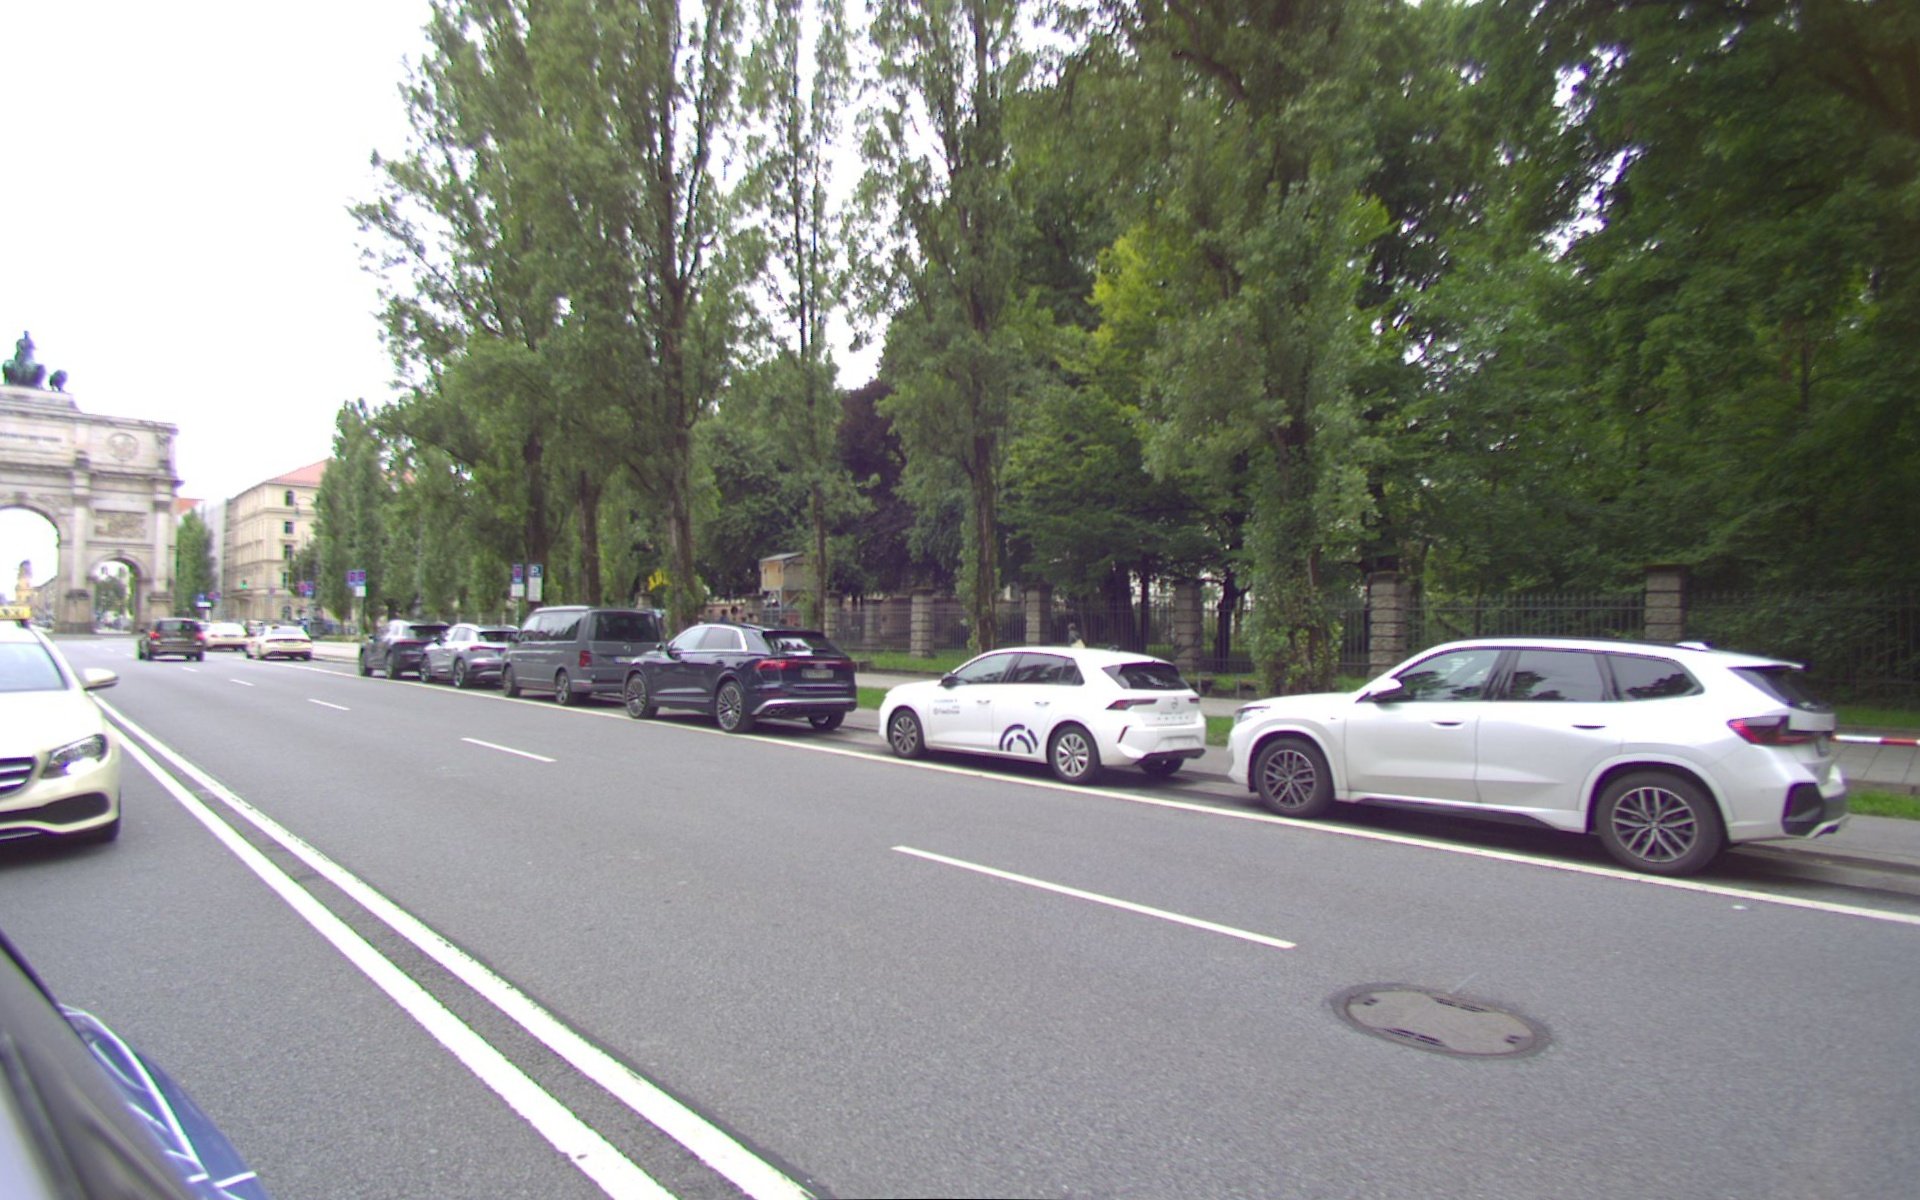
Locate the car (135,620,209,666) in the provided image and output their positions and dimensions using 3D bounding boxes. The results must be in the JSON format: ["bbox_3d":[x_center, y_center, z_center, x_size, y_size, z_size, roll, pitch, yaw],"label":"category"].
[{"bbox_3d":[-30.683,1.667,39.362,1.764,1.669,4.116,4,-4,-44],"label":"car"}]

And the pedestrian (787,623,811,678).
[{"bbox_3d":[-4.954,1.551,31.177,0.543,1.682,0.532,1,-2,-45],"label":"pedestrian"}]

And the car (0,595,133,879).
[{"bbox_3d":[-7.248,0.805,7.154,1.892,1.587,4.694,-1,0,-43],"label":"car"}]

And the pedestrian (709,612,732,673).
[{"bbox_3d":[-7.949,1.404,33.632,0.543,1.974,0.532,1,-2,-45],"label":"pedestrian"}]

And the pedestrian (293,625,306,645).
[{"bbox_3d":[-54.618,2.884,83.649,0.833,1.691,0.969,1,-2,-31],"label":"pedestrian"}]

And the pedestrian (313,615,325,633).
[{"bbox_3d":[-70.884,2.647,111.853,0.748,2.029,0.792,0,-2,11],"label":"pedestrian"}]

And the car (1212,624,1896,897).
[{"bbox_3d":[4.473,1.049,8.219,1.764,1.600,4.465,5,-5,-43],"label":"car"}]

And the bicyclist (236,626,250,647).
[{"bbox_3d":[-52.260,2.656,73.777,0.685,1.510,0.863,2,-3,-41],"label":"bicyclist"}]

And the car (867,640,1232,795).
[{"bbox_3d":[0.894,1.245,11.961,1.657,1.433,4.240,4,-4,-44],"label":"car"}]

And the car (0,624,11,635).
[{"bbox_3d":[-176.661,5.497,186.882,1.970,2.029,4.398,2,-2,-44],"label":"car"}]

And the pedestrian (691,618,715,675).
[{"bbox_3d":[-8.140,1.458,32.040,0.543,1.761,0.532,1,-2,-45],"label":"pedestrian"}]

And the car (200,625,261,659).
[{"bbox_3d":[-38.955,2.222,54.007,1.915,1.637,4.969,3,-2,-44],"label":"car"}]

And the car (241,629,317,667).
[{"bbox_3d":[-29.110,2.044,43.187,1.908,1.509,4.794,3,-3,-43],"label":"car"}]

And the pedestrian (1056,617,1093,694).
[{"bbox_3d":[2.672,1.270,23.594,0.543,1.761,0.673,1,-2,-45],"label":"pedestrian"}]

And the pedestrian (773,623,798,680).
[{"bbox_3d":[-5.307,1.544,30.754,0.543,1.714,0.532,1,-2,-45],"label":"pedestrian"}]

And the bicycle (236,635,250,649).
[{"bbox_3d":[-52.298,3.069,73.821,0.699,0.946,1.737,1,-2,-41],"label":"bicycle"}]

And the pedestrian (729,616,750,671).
[{"bbox_3d":[-7.400,1.451,33.954,0.428,1.849,0.612,1,-2,-45],"label":"pedestrian"}]

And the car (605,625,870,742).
[{"bbox_3d":[-3.785,1.257,16.550,1.794,1.621,5.056,5,-4,-44],"label":"car"}]

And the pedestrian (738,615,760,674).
[{"bbox_3d":[-7.203,1.510,34.489,0.543,1.974,0.532,1,-2,-45],"label":"pedestrian"}]

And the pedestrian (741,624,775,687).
[{"bbox_3d":[-5.658,1.539,28.332,0.787,1.733,0.576,-2,-2,45],"label":"pedestrian"}]

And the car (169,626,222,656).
[{"bbox_3d":[-44.445,2.363,58.805,1.797,1.571,4.862,5,-4,-44],"label":"car"}]

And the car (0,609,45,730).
[{"bbox_3d":[-14.995,0.982,15.031,1.926,1.636,4.415,-1,0,-44],"label":"car"}]

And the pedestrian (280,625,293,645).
[{"bbox_3d":[-55.448,2.882,83.333,0.833,1.691,0.969,1,-2,-31],"label":"pedestrian"}]

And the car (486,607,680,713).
[{"bbox_3d":[-8.090,1.228,21.459,1.970,1.971,4.940,4,-4,-44],"label":"car"}]

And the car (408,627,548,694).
[{"bbox_3d":[-12.612,1.521,26.334,1.868,1.596,4.657,3,-3,-44],"label":"car"}]

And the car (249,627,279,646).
[{"bbox_3d":[-75.161,3.964,109.229,1.975,1.869,4.996,4,-3,-42],"label":"car"}]

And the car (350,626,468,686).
[{"bbox_3d":[-16.098,1.602,29.456,1.761,1.608,4.616,4,-4,-44],"label":"car"}]
